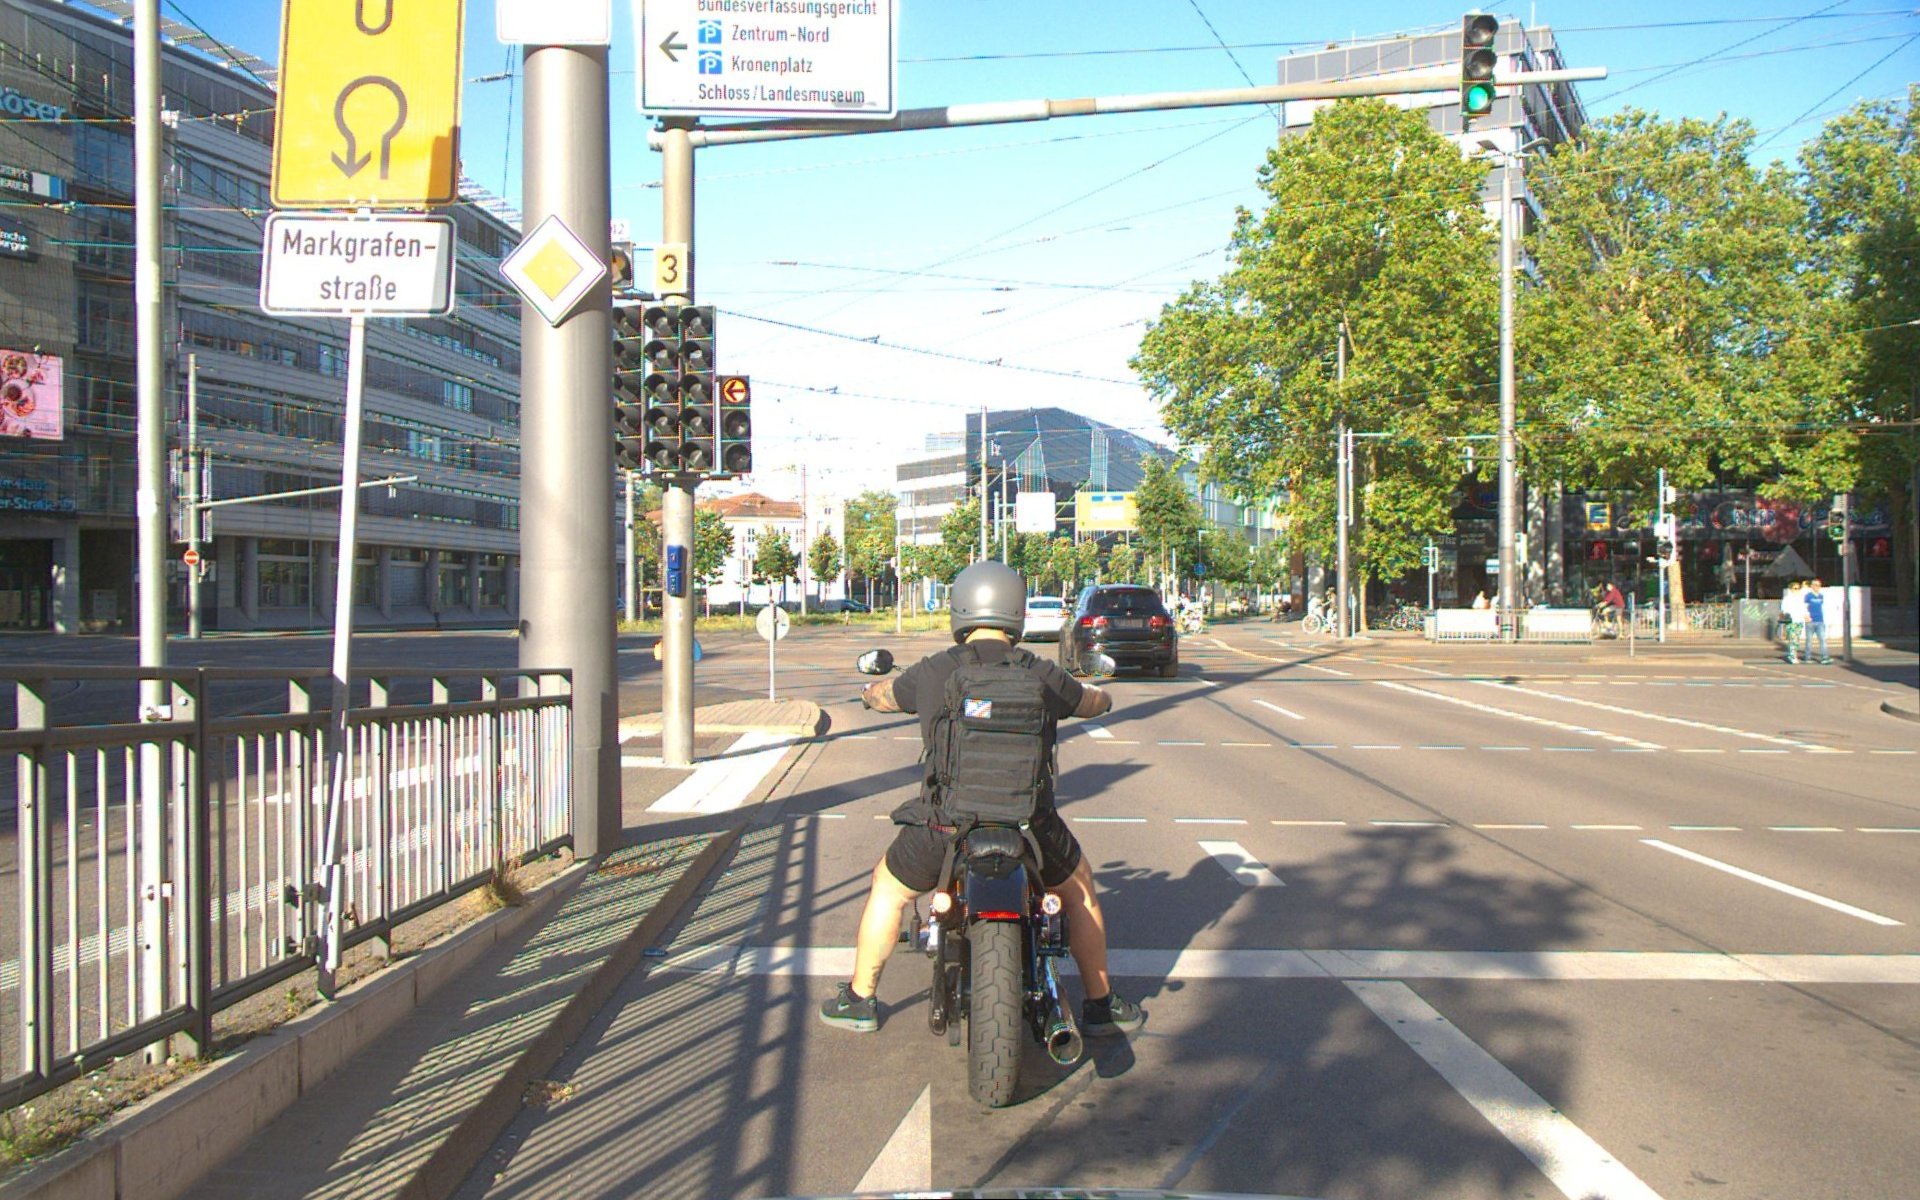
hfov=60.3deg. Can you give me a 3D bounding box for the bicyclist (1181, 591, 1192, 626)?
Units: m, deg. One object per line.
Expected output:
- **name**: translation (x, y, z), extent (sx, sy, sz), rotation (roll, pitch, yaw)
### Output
- **bicyclist**: translation (9.202, 0.357, 67.232), extent (0.374, 1.397, 0.344), rotation (1, -1, -9)

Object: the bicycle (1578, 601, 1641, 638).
- **bicycle**: translation (22.335, 0.682, 56.914), extent (2.001, 1.235, 0.421), rotation (1, -1, -1)

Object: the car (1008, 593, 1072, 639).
- **car**: translation (2.604, 0.509, 55.008), extent (1.767, 1.455, 4.451), rotation (0, 0, -2)

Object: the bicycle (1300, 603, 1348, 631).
- **bicycle**: translation (14.401, 0.669, 65.446), extent (1.831, 1.062, 0.537), rotation (0, -1, 18)

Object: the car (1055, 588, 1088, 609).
- **car**: translation (7.988, -0.104, 118.196), extent (1.765, 1.455, 4.457), rotation (0, 0, 12)

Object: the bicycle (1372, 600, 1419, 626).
- **bicycle**: translation (18.119, 0.539, 68.777), extent (1.842, 1.065, 0.360), rotation (1, -1, -2)

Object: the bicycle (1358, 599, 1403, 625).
- **bicycle**: translation (18.020, 0.528, 70.911), extent (1.842, 1.064, 0.360), rotation (1, 0, -2)

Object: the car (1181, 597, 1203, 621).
- **car**: translation (18.954, 0.769, 135.142), extent (1.497, 1.870, 3.578), rotation (1, -1, 12)

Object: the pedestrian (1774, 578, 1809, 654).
- **pedestrian**: translation (17.396, 0.341, 34.600), extent (0.554, 1.559, 0.702), rotation (1, -1, 20)

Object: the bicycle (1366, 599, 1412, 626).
- **bicycle**: translation (18.077, 0.528, 69.761), extent (1.842, 1.064, 0.360), rotation (1, 0, -2)

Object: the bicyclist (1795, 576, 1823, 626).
- **bicyclist**: translation (26.071, 0.033, 50.781), extent (0.562, 1.545, 0.624), rotation (2, -1, -42)

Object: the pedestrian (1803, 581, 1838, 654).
- **pedestrian**: translation (18.050, 0.368, 34.703), extent (0.554, 1.505, 0.702), rotation (1, -1, 20)

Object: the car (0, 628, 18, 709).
- **car**: translation (-14.519, 0.906, 22.438), extent (2.835, 1.081, 1.235), rotation (1, -1, -22)

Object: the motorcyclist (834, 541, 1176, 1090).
- **motorcyclist**: translation (0.128, 0.634, 5.342), extent (1.009, 1.621, 0.873), rotation (0, 0, -1)

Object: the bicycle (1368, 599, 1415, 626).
- **bicycle**: translation (18.062, 0.530, 69.261), extent (1.842, 1.064, 0.360), rotation (1, 0, -2)

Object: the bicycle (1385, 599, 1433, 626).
- **bicycle**: translation (18.115, 0.496, 66.773), extent (1.842, 1.065, 0.360), rotation (1, -1, -2)

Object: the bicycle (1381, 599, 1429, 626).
- **bicycle**: translation (18.177, 0.518, 67.589), extent (1.842, 1.065, 0.360), rotation (1, -1, -2)

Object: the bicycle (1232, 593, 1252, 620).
- **bicycle**: translation (15.280, 0.357, 89.639), extent (0.710, 1.391, 2.918), rotation (1, -1, 3)

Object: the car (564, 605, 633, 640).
- **car**: translation (-17.105, 1.068, 78.428), extent (1.712, 1.550, 4.003), rotation (1, -1, 11)

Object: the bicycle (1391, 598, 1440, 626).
- **bicycle**: translation (18.178, 0.477, 65.993), extent (1.842, 1.065, 0.360), rotation (1, -1, -2)

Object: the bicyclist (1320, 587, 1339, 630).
- **bicyclist**: translation (14.596, 0.347, 65.371), extent (0.673, 1.702, 0.541), rotation (0, -1, 18)

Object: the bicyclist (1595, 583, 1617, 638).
- **bicyclist**: translation (22.241, 0.366, 56.916), extent (0.572, 1.870, 0.402), rotation (1, -1, -1)

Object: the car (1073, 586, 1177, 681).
- **car**: translation (3.079, 0.566, 30.611), extent (1.765, 1.623, 4.456), rotation (0, 0, 6)

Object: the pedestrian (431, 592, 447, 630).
- **pedestrian**: translation (-28.269, 0.577, 89.758), extent (0.617, 2.049, 0.754), rotation (1, -1, -1)

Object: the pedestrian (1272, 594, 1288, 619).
- **pedestrian**: translation (17.565, 0.365, 90.865), extent (0.802, 1.337, 0.638), rotation (1, -1, 8)

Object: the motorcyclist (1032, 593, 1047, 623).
- **motorcyclist**: translation (4.362, 0.451, 91.180), extent (0.779, 1.607, 0.529), rotation (1, -1, 5)

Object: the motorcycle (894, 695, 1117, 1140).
- **motorcycle**: translation (0.108, 0.926, 5.602), extent (0.588, 1.054, 2.233), rotation (1, 0, -1)

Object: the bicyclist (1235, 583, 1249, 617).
- **bicyclist**: translation (15.283, 0.008, 89.614), extent (0.682, 1.840, 0.729), rotation (1, -1, 3)

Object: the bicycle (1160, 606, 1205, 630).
- **bicycle**: translation (9.027, 0.720, 67.196), extent (1.792, 0.942, 0.357), rotation (1, -1, -9)

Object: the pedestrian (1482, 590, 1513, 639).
- **pedestrian**: translation (19.175, 0.513, 59.003), extent (0.816, 1.734, 0.759), rotation (1, -1, -1)

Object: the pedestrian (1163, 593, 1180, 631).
- **pedestrian**: translation (8.814, 0.489, 68.833), extent (0.576, 1.584, 0.488), rotation (1, -1, -9)

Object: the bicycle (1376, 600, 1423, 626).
- **bicycle**: translation (18.111, 0.533, 68.144), extent (1.842, 1.064, 0.360), rotation (1, 0, -2)
